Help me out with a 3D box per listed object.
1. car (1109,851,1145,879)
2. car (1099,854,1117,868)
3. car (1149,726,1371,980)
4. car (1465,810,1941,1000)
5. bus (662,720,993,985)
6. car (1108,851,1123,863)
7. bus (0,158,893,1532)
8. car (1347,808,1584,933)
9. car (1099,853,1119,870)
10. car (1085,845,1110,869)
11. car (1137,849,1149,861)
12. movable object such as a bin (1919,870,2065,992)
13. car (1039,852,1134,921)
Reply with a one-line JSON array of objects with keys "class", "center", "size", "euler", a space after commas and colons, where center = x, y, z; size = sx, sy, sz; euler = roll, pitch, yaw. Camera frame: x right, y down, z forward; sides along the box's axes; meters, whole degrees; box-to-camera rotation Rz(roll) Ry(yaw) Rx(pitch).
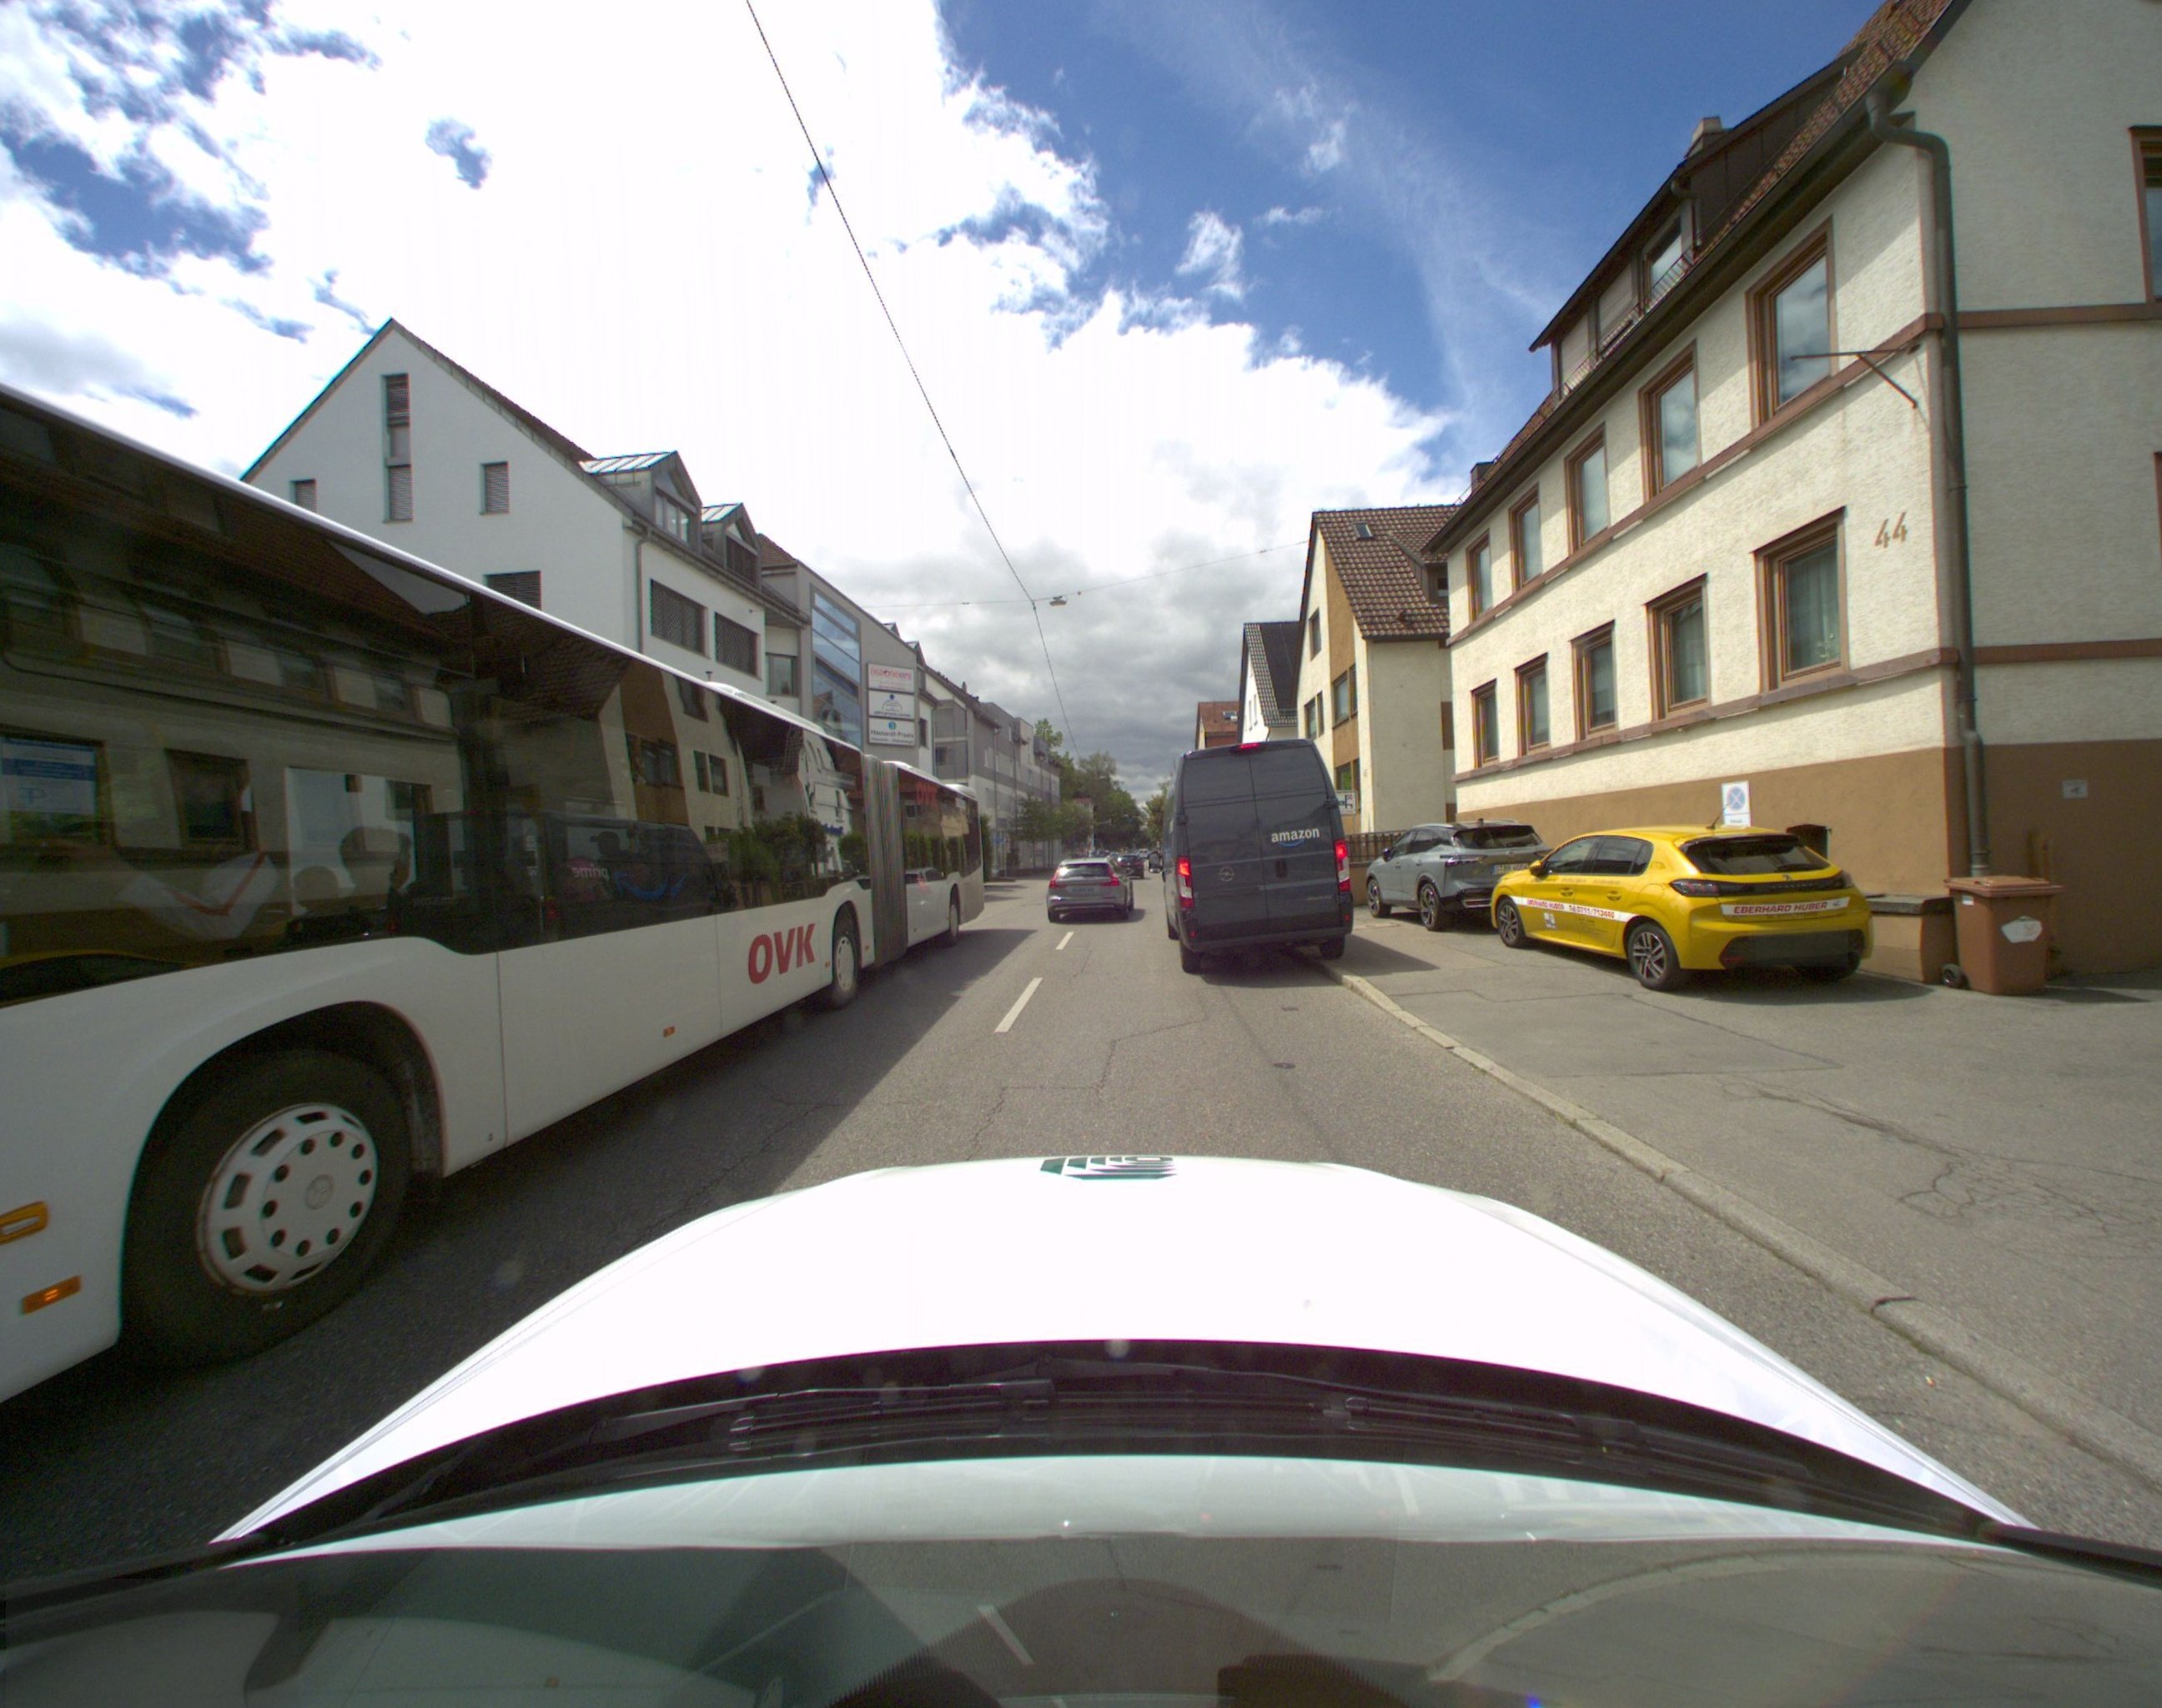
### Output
[{"class": "car", "center": [2.701, 0.595, 47.157], "size": [1.887, 1.446, 3.974], "euler": [-2, 0, 5]}, {"class": "car", "center": [3.398, 0.857, 101.196], "size": [2.097, 1.596, 4.653], "euler": [-2, 0, 2]}, {"class": "car", "center": [2.247, -0.011, 12.002], "size": [2.243, 2.795, 5.574], "euler": [-2, 0, 3]}, {"class": "car", "center": [6.035, 0.329, 8.718], "size": [1.870, 1.447, 4.309], "euler": [-3, 2, 1]}, {"class": "bus", "center": [-3.576, -0.016, 14.103], "size": [2.705, 3.163, 8.075], "euler": [-2, 0, 3]}, {"class": "car", "center": [5.141, 0.440, 121.896], "size": [2.097, 1.596, 4.653], "euler": [-2, 0, 2]}, {"class": "bus", "center": [-3.793, -0.005, 5.074], "size": [2.673, 3.163, 10.184], "euler": [-2, 0, 0]}, {"class": "car", "center": [6.043, 0.212, 13.514], "size": [1.853, 1.612, 4.589], "euler": [-3, 0, 2]}, {"class": "car", "center": [3.071, 0.799, 89.300], "size": [2.097, 1.709, 4.768], "euler": [-2, 0, 3]}, {"class": "car", "center": [1.635, 0.286, 77.250], "size": [2.097, 2.121, 4.768], "euler": [-4, 0, 3]}, {"class": "car", "center": [11.310, 0.131, 147.869], "size": [1.984, 2.013, 4.005], "euler": [-2, 0, 5]}, {"class": "movable object such as a bin", "center": [7.402, 0.608, 6.645], "size": [0.498, 0.925, 0.599], "euler": [-2, 0, 7]}, {"class": "car", "center": [0.246, 0.730, 20.047], "size": [1.887, 1.453, 3.975], "euler": [-2, 0, 6]}]
